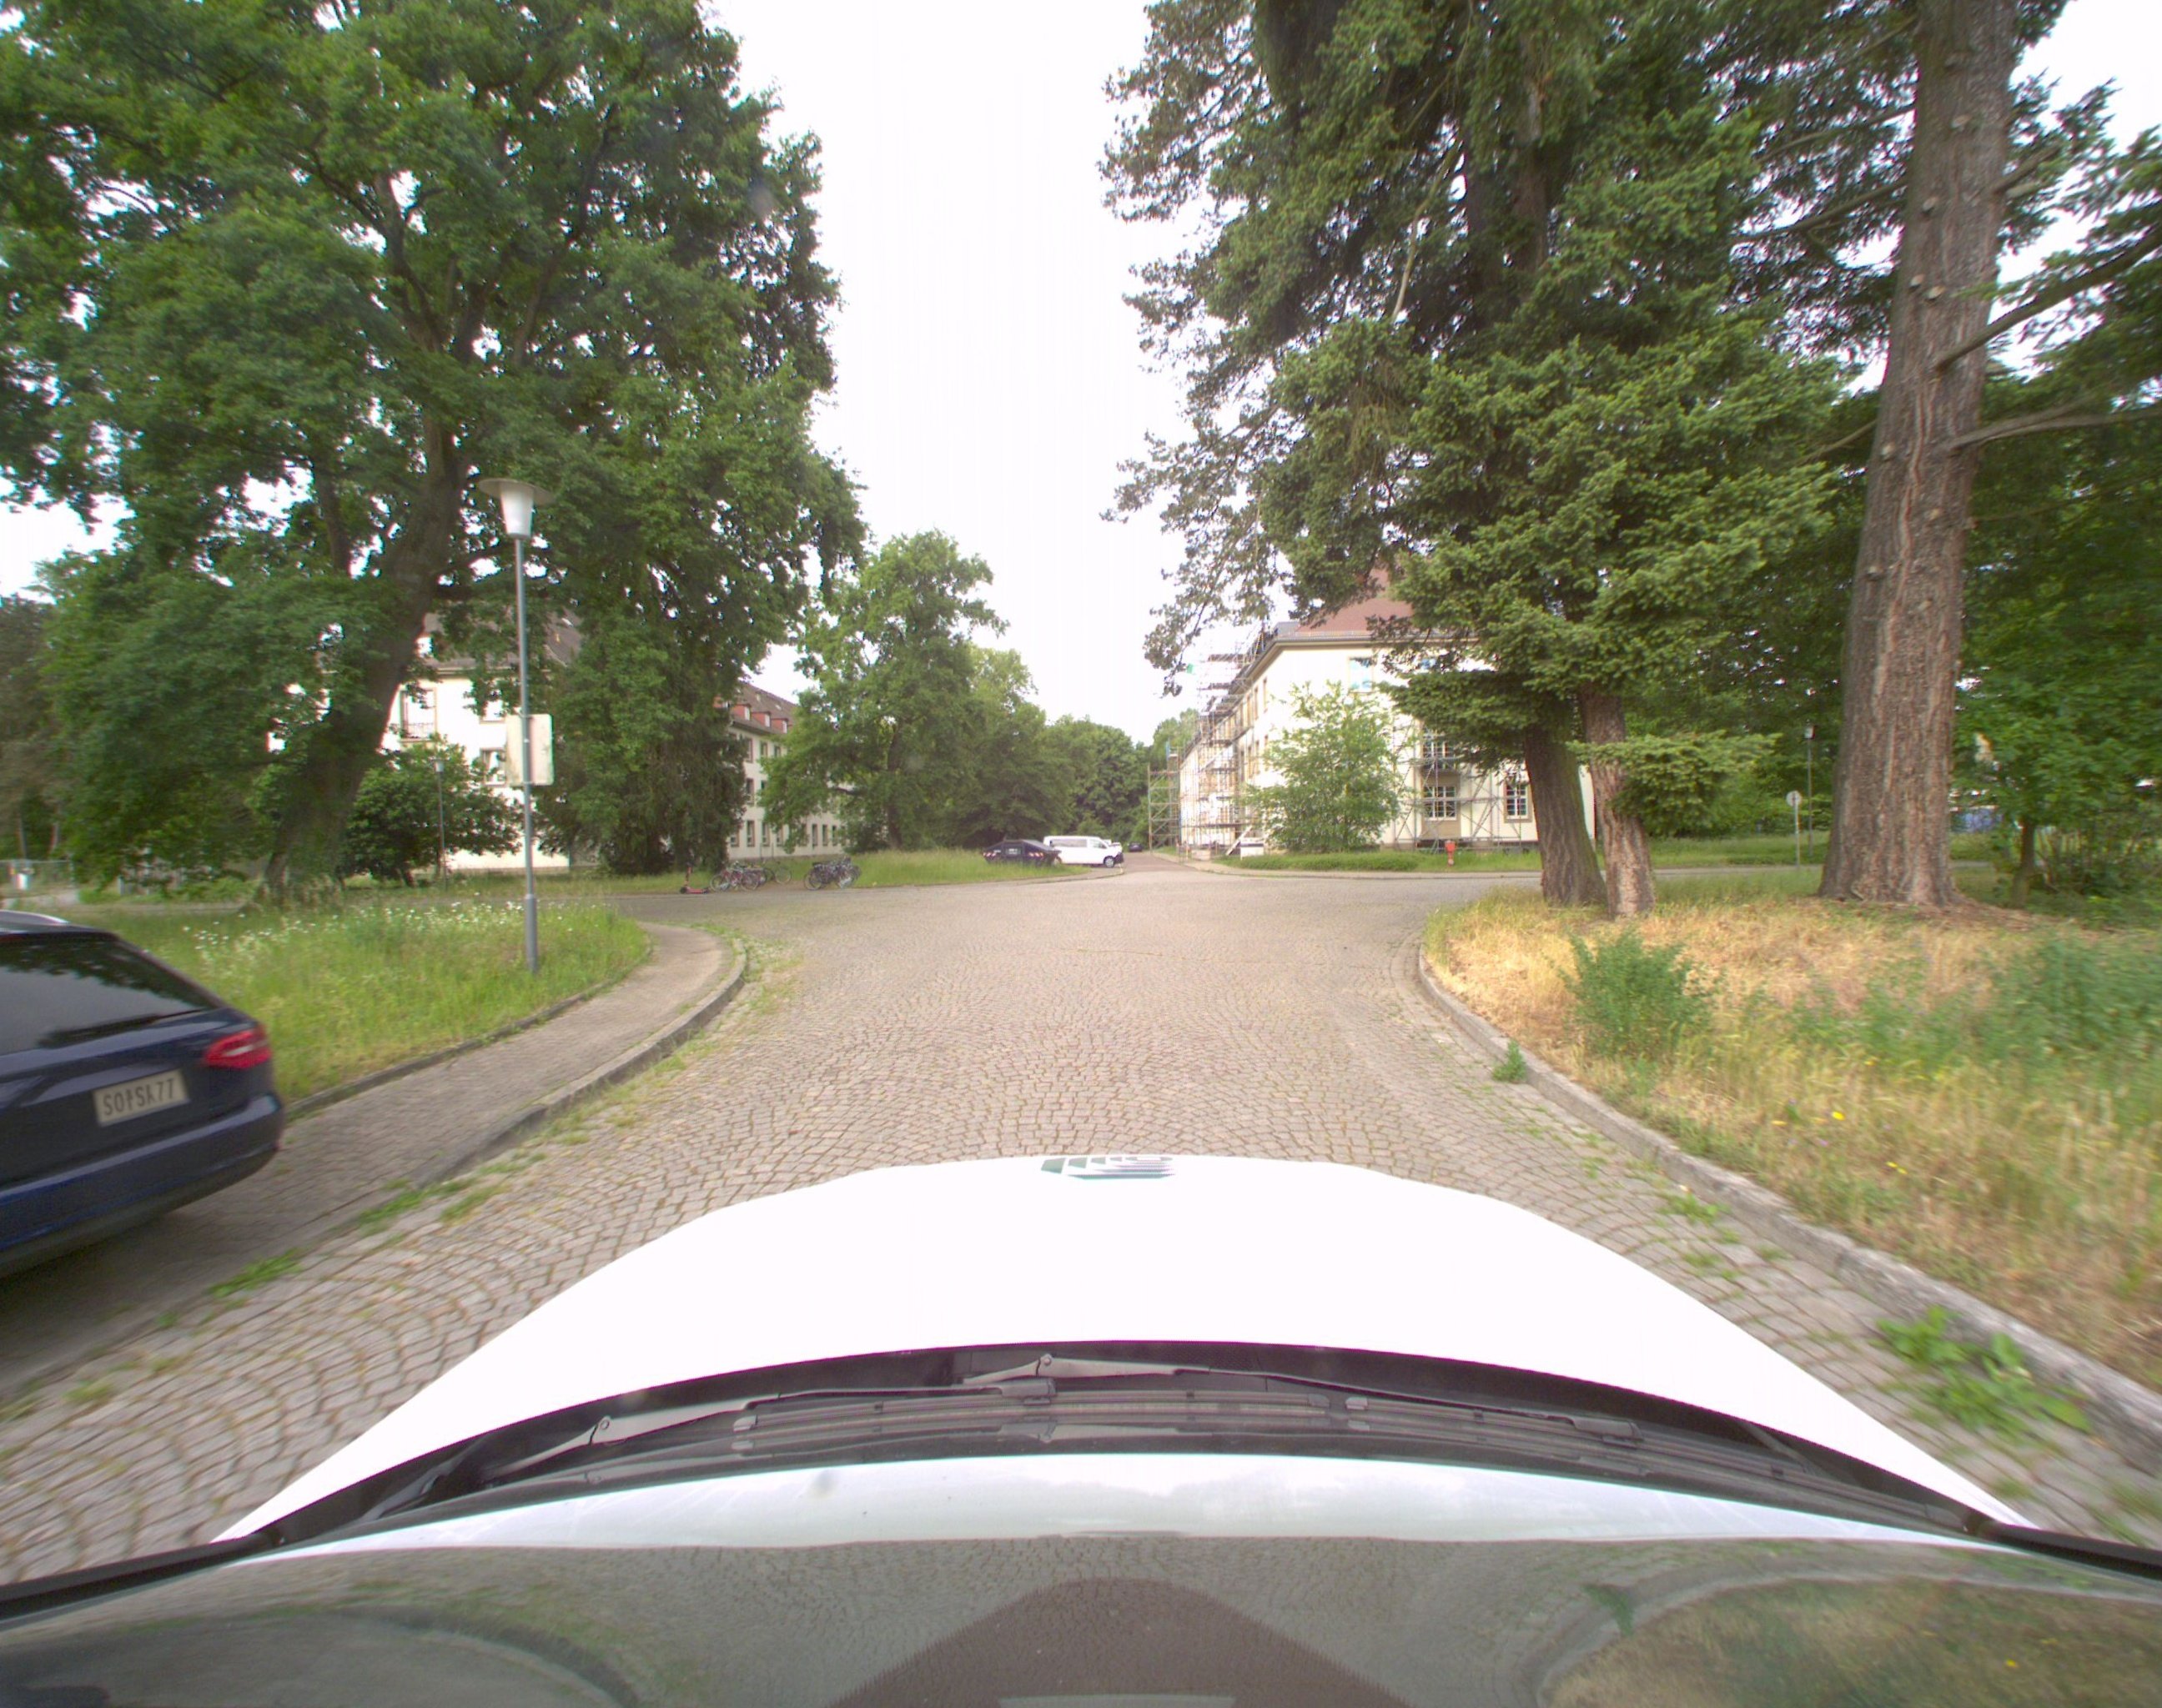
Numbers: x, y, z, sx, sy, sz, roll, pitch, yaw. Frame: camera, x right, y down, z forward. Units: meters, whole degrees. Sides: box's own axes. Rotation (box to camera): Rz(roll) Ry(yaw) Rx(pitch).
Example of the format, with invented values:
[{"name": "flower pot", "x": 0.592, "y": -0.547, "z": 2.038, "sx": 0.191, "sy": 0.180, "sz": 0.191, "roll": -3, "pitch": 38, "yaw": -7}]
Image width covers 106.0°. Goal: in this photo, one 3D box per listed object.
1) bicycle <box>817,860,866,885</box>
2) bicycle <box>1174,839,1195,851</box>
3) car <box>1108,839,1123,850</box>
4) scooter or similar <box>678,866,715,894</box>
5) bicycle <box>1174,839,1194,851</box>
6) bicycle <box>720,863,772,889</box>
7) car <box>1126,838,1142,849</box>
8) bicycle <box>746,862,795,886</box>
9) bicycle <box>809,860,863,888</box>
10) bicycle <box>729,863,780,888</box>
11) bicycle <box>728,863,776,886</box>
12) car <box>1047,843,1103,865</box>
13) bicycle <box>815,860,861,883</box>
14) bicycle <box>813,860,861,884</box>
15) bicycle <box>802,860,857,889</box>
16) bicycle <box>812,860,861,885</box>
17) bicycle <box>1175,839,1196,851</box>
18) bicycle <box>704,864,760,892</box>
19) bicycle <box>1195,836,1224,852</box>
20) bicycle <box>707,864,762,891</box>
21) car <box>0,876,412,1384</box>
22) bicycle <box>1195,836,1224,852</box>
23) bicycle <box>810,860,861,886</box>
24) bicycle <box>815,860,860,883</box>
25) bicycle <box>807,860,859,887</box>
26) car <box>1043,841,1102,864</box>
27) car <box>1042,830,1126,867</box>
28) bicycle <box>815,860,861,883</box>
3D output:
[{"name": "bicycle", "x": -10.197, "y": 0.777, "z": 34.658, "sx": 1.965, "sy": 0.989, "sz": 0.622, "roll": -2, "pitch": 1, "yaw": -21}, {"name": "bicycle", "x": 11.371, "y": -0.996, "z": 89.341, "sx": 2.230, "sy": 1.254, "sz": 0.699, "roll": -2, "pitch": 0, "yaw": 4}, {"name": "car", "x": 4.974, "y": -1.367, "z": 117.593, "sx": 2.111, "sy": 1.521, "sz": 4.001, "roll": -2, "pitch": 1, "yaw": 1}, {"name": "scooter or similar", "x": -14.690, "y": 1.001, "z": 31.095, "sx": 1.337, "sy": 1.038, "sz": 0.456, "roll": -1, "pitch": 0, "yaw": 23}, {"name": "bicycle", "x": 11.409, "y": -1.003, "z": 90.185, "sx": 2.230, "sy": 1.254, "sz": 0.635, "roll": -2, "pitch": 0, "yaw": 4}, {"name": "bicycle", "x": -14.034, "y": 0.916, "z": 34.123, "sx": 1.967, "sy": 0.989, "sz": 0.622, "roll": -2, "pitch": 1, "yaw": -25}, {"name": "car", "x": 7.651, "y": -1.463, "z": 117.821, "sx": 1.944, "sy": 1.521, "sz": 4.001, "roll": -2, "pitch": 1, "yaw": 1}, {"name": "bicycle", "x": -13.896, "y": 0.894, "z": 36.478, "sx": 1.957, "sy": 0.989, "sz": 0.625, "roll": -2, "pitch": 1, "yaw": -9}, {"name": "bicycle", "x": -9.682, "y": 0.777, "z": 32.169, "sx": 1.965, "sy": 0.989, "sz": 0.622, "roll": -2, "pitch": 1, "yaw": -21}, {"name": "bicycle", "x": -14.216, "y": 0.913, "z": 35.477, "sx": 1.957, "sy": 0.989, "sz": 0.625, "roll": -2, "pitch": 1, "yaw": -9}, {"name": "bicycle", "x": -15.304, "y": 0.933, "z": 37.942, "sx": 1.961, "sy": 0.989, "sz": 0.624, "roll": -2, "pitch": 1, "yaw": -15}, {"name": "car", "x": -0.407, "y": 0.015, "z": 56.815, "sx": 3.776, "sy": 1.395, "sz": 2.000, "roll": -2, "pitch": 1, "yaw": 0}, {"name": "bicycle", "x": -11.246, "y": 0.793, "z": 37.691, "sx": 1.965, "sy": 0.989, "sz": 0.622, "roll": -2, "pitch": 1, "yaw": -21}, {"name": "bicycle", "x": -10.772, "y": 0.788, "z": 35.982, "sx": 1.965, "sy": 0.989, "sz": 0.622, "roll": -2, "pitch": 1, "yaw": -21}, {"name": "bicycle", "x": -9.730, "y": 0.783, "z": 31.546, "sx": 1.963, "sy": 0.989, "sz": 0.623, "roll": -2, "pitch": 1, "yaw": -19}, {"name": "bicycle", "x": -10.615, "y": 0.787, "z": 35.396, "sx": 1.965, "sy": 0.989, "sz": 0.622, "roll": -2, "pitch": 1, "yaw": -21}, {"name": "bicycle", "x": 11.314, "y": -0.985, "z": 88.153, "sx": 2.230, "sy": 1.254, "sz": 0.628, "roll": -2, "pitch": 0, "yaw": 4}, {"name": "bicycle", "x": -13.654, "y": 0.918, "z": 31.914, "sx": 1.967, "sy": 0.989, "sz": 0.622, "roll": -2, "pitch": 1, "yaw": -25}, {"name": "bicycle", "x": 10.426, "y": -0.804, "z": 66.292, "sx": 2.230, "sy": 1.254, "sz": 0.778, "roll": -2, "pitch": 0, "yaw": 4}, {"name": "bicycle", "x": -13.765, "y": 0.918, "z": 32.406, "sx": 1.965, "sy": 0.989, "sz": 0.622, "roll": -2, "pitch": 1, "yaw": -21}, {"name": "car", "x": -5.375, "y": 0.876, "z": 2.953, "sx": 4.285, "sy": 1.460, "sz": 1.977, "roll": -1, "pitch": 1, "yaw": 3}, {"name": "bicycle", "x": 10.144, "y": -0.781, "z": 64.385, "sx": 2.230, "sy": 1.254, "sz": 0.778, "roll": -2, "pitch": 0, "yaw": 4}, {"name": "bicycle", "x": -10.175, "y": 0.783, "z": 33.781, "sx": 1.965, "sy": 0.989, "sz": 0.622, "roll": -2, "pitch": 1, "yaw": -21}, {"name": "bicycle", "x": -11.474, "y": 0.795, "z": 38.419, "sx": 1.965, "sy": 0.989, "sz": 0.622, "roll": -2, "pitch": 1, "yaw": -21}, {"name": "bicycle", "x": -10.100, "y": 0.784, "z": 33.153, "sx": 1.965, "sy": 0.989, "sz": 0.622, "roll": -2, "pitch": 1, "yaw": -21}, {"name": "car", "x": -0.561, "y": -0.090, "z": 54.284, "sx": 3.778, "sy": 1.395, "sz": 1.999, "roll": -2, "pitch": 1, "yaw": -1}, {"name": "car", "x": 0.193, "y": -0.383, "z": 51.666, "sx": 5.218, "sy": 2.168, "sz": 2.000, "roll": -2, "pitch": 1, "yaw": -1}, {"name": "bicycle", "x": -11.069, "y": 0.790, "z": 37.117, "sx": 1.965, "sy": 0.989, "sz": 0.622, "roll": -2, "pitch": 1, "yaw": -21}]
